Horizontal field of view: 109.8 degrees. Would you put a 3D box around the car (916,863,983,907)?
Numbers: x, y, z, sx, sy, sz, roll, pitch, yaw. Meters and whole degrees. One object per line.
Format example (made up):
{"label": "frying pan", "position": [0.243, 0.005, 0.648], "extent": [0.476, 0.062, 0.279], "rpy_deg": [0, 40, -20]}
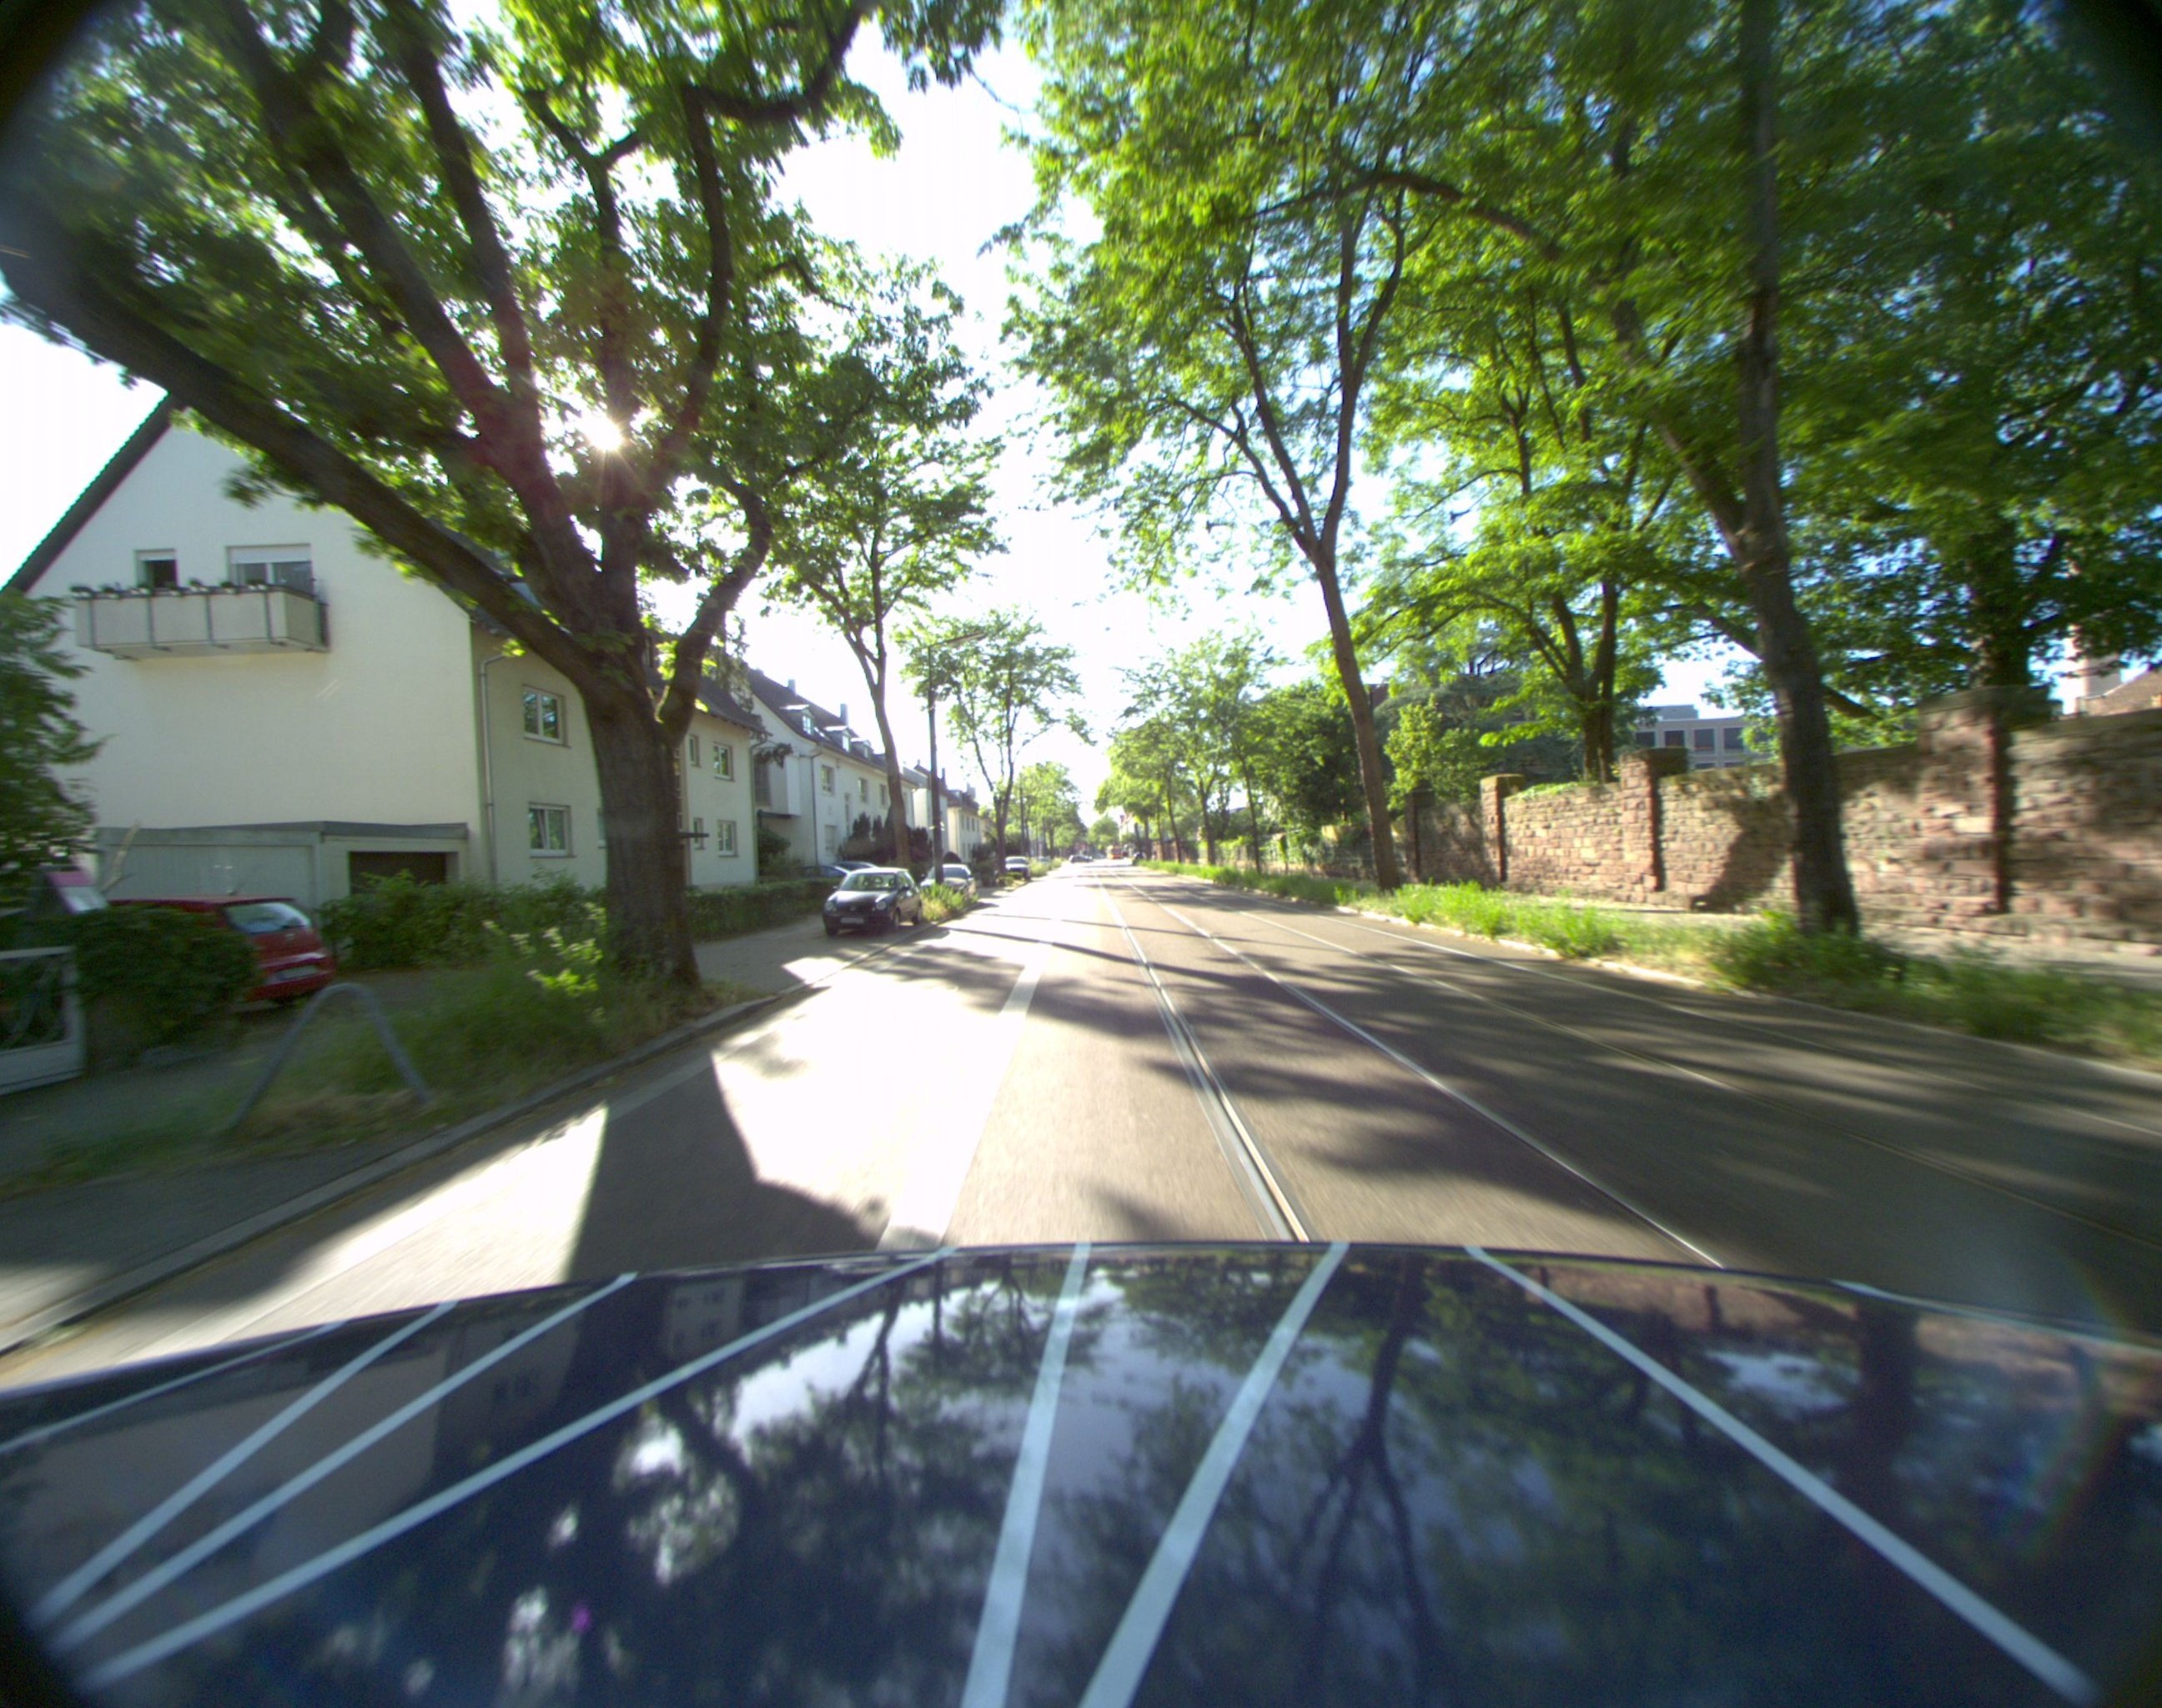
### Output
{"label": "car", "position": [-4.718, 1.079, 27.892], "extent": [1.788, 1.440, 4.300], "rpy_deg": [0, 0, -1]}

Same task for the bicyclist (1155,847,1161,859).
{"label": "bicyclist", "position": [10.226, -0.178, 100.987], "extent": [0.711, 1.490, 0.956], "rpy_deg": [-4, 1, 1]}

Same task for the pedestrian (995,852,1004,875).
{"label": "pedestrian", "position": [-6.492, 0.754, 60.664], "extent": [0.627, 1.859, 0.732], "rpy_deg": [0, 1, 0]}

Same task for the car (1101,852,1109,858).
{"label": "car", "position": [7.069, 0.338, 221.824], "extent": [1.743, 1.450, 3.691], "rpy_deg": [-3, 0, -8]}

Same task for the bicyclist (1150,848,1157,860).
{"label": "bicyclist", "position": [9.388, -0.025, 98.164], "extent": [0.710, 1.462, 1.041], "rpy_deg": [-2, 1, 1]}

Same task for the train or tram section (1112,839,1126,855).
{"label": "train or tram section", "position": [8.589, -1.687, 174.229], "extent": [2.811, 3.439, 6.668], "rpy_deg": [-3, 0, 1]}

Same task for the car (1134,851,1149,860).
{"label": "car", "position": [10.895, 0.251, 135.902], "extent": [1.751, 1.515, 4.074], "rpy_deg": [-3, 1, 17]}

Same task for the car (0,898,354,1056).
{"label": "car", "position": [-10.837, 1.313, 8.539], "extent": [3.409, 1.427, 1.732], "rpy_deg": [-1, 1, -12]}

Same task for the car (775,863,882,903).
{"label": "car", "position": [-10.113, 1.136, 30.665], "extent": [3.749, 1.481, 1.739], "rpy_deg": [-1, 0, -5]}

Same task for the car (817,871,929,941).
{"label": "car", "position": [-4.805, 1.153, 18.045], "extent": [1.631, 1.389, 3.645], "rpy_deg": [0, 0, 0]}

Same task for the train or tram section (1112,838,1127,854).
{"label": "train or tram section", "position": [8.475, -1.703, 167.551], "extent": [2.811, 3.439, 6.668], "rpy_deg": [-3, 0, 1]}

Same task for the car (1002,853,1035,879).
{"label": "car", "position": [-4.397, 0.808, 53.914], "extent": [1.999, 1.694, 4.477], "rpy_deg": [0, 0, 0]}

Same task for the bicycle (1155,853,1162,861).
{"label": "bicycle", "position": [10.275, 0.384, 101.001], "extent": [0.720, 0.968, 1.888], "rpy_deg": [-4, 1, 1]}

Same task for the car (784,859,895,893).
{"label": "car", "position": [-10.908, 0.958, 34.501], "extent": [4.431, 1.481, 1.859], "rpy_deg": [0, 0, 3]}
